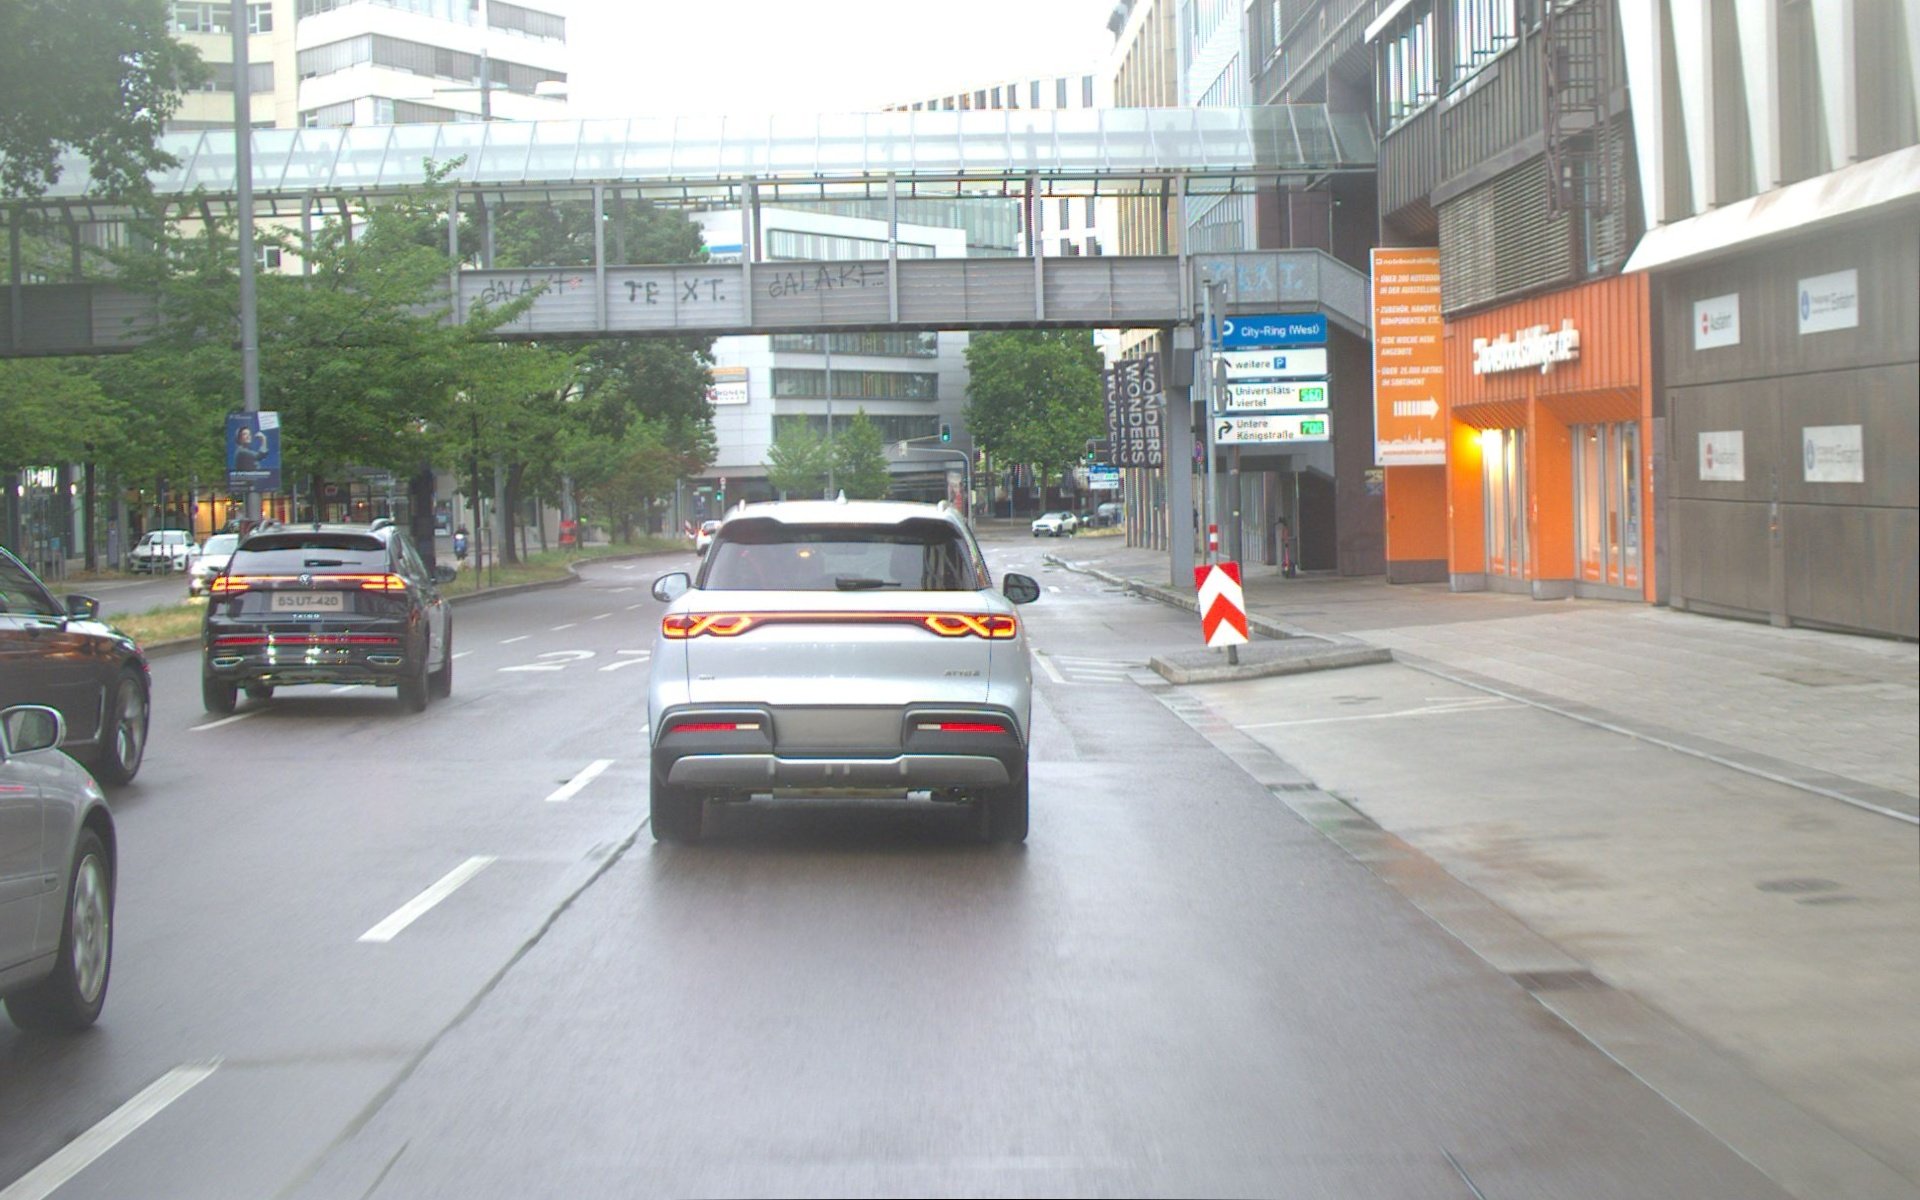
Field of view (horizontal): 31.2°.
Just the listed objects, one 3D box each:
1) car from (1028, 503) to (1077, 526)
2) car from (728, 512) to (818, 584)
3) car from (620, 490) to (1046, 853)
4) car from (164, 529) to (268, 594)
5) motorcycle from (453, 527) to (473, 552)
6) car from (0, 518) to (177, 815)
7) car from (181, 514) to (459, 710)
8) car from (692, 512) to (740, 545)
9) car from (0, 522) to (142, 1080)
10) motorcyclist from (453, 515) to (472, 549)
[{"bbox_3d":[6.305,-5.819,234.428,1.583,1.533,3.994,0,2,30],"label":"car"},{"bbox_3d":[-4.244,-1.207,78.620,1.811,1.573,4.000,-1,2,0],"label":"car"},{"bbox_3d":[-0.598,0.283,17.475,1.901,1.616,4.000,1,1,-1],"label":"car"},{"bbox_3d":[-18.104,-0.956,83.795,1.661,1.459,4.081,-3,1,-1],"label":"car"},{"bbox_3d":[-20.792,-2.554,143.803,0.584,1.018,1.805,-1,1,0],"label":"motorcycle"},{"bbox_3d":[-5.717,0.351,17.825,1.872,1.474,4.878,-2,1,4],"label":"car"},{"bbox_3d":[-5.149,0.064,28.101,1.774,1.452,4.001,-1,1,-4],"label":"car"},{"bbox_3d":[-10.235,-3.004,144.389,1.653,1.337,4.000,-1,2,1],"label":"car"},{"bbox_3d":[-3.371,0.540,8.574,1.672,1.474,4.361,0,0,-1],"label":"car"},{"bbox_3d":[-20.802,-2.849,143.693,0.638,1.413,0.970,-1,1,0],"label":"motorcyclist"}]
